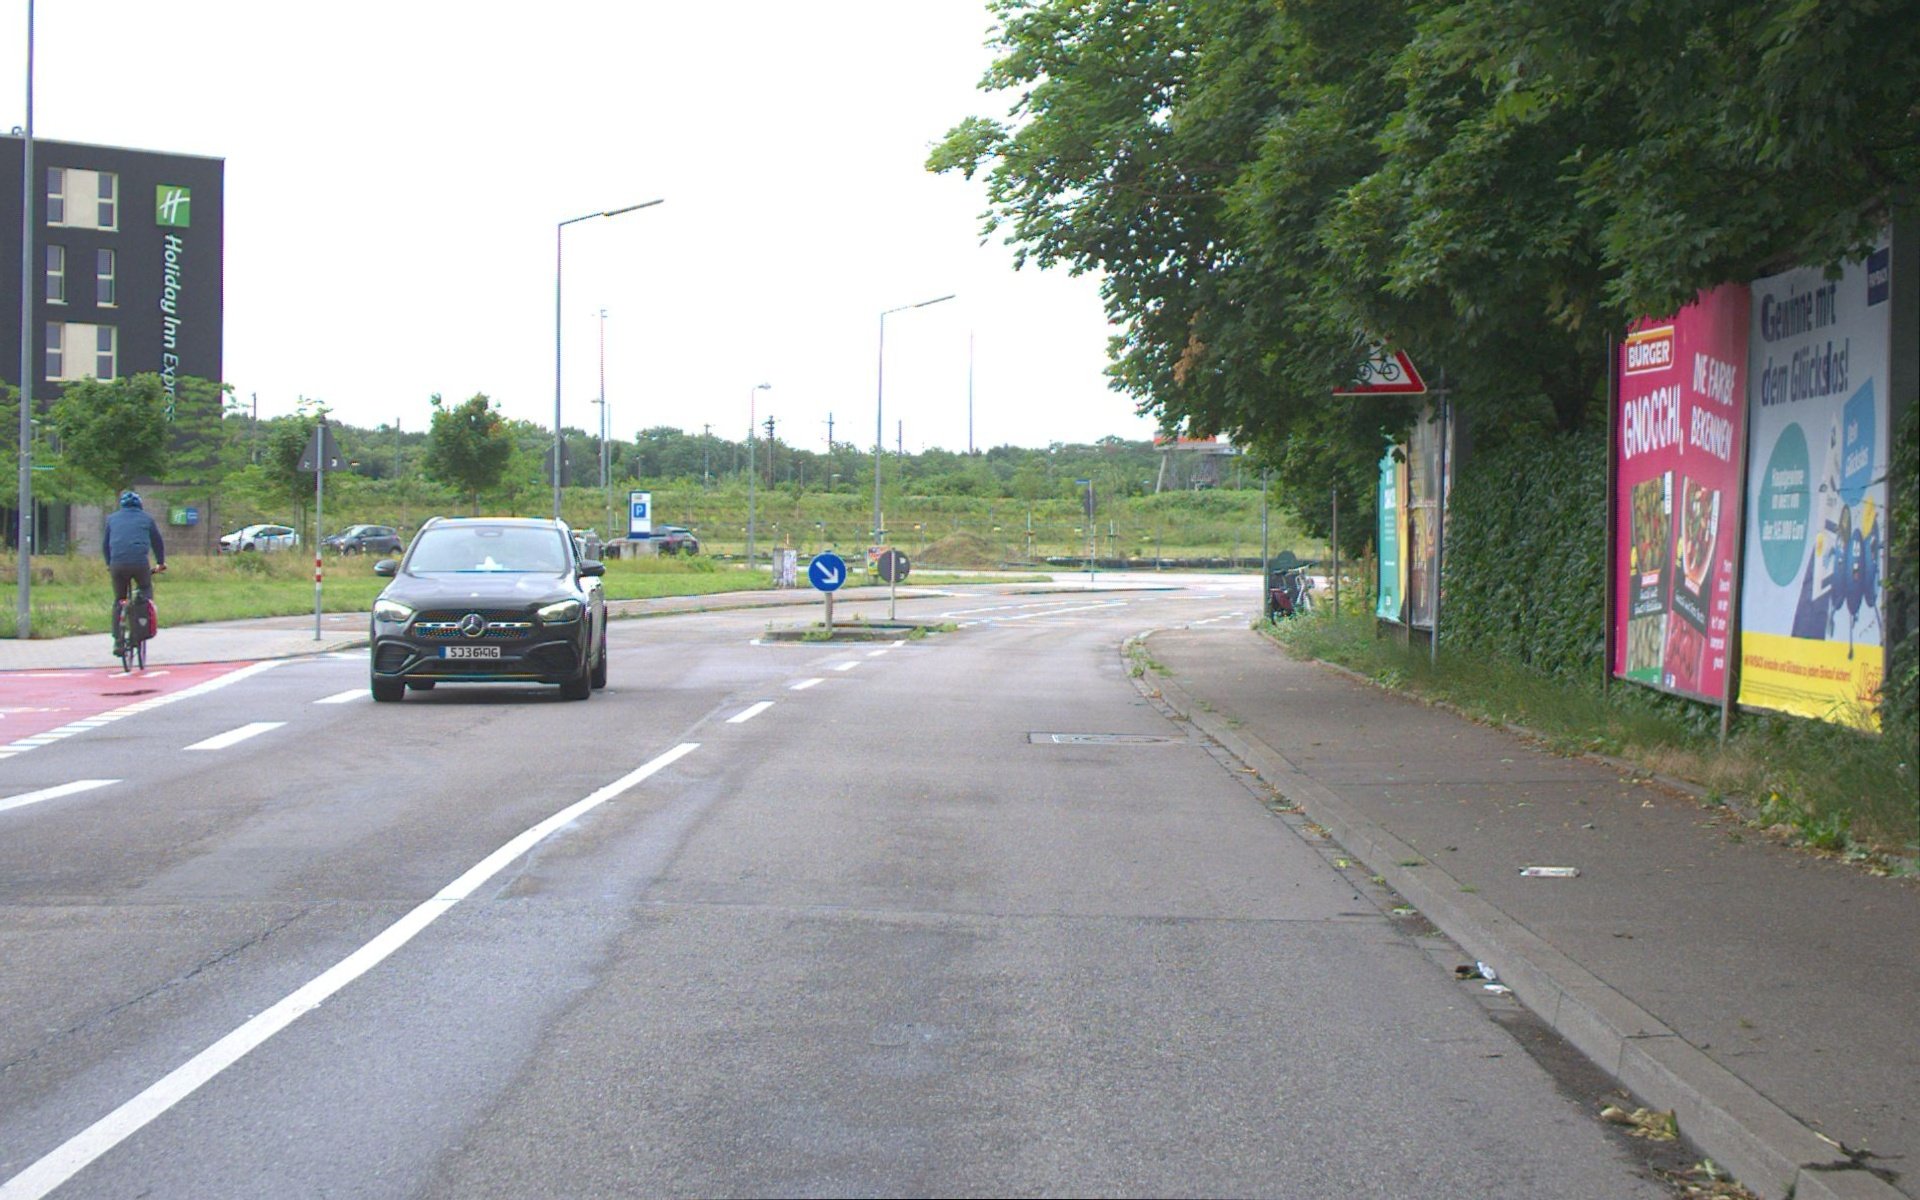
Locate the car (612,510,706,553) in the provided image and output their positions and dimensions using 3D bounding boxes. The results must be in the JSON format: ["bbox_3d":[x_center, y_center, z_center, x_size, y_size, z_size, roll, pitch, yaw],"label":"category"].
[{"bbox_3d":[-13.328,-3.062,152.229,3.997,1.816,1.995,2,3,43],"label":"car"}]

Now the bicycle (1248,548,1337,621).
[{"bbox_3d":[5.182,-0.253,53.524,0.796,1.107,1.950,1,1,24],"label":"bicycle"}]

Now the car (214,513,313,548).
[{"bbox_3d":[-31.294,-3.115,154.580,1.997,1.512,4.145,2,2,34],"label":"car"}]

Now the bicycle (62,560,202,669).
[{"bbox_3d":[-8.740,0.134,36.390,0.884,1.048,2.469,1,2,0],"label":"bicycle"}]

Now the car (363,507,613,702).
[{"bbox_3d":[-4.116,-0.020,30.548,1.880,1.561,4.359,0,2,-4],"label":"car"}]

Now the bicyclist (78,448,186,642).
[{"bbox_3d":[-8.735,-0.594,36.305,0.861,2.006,1.177,1,2,0],"label":"bicyclist"}]
